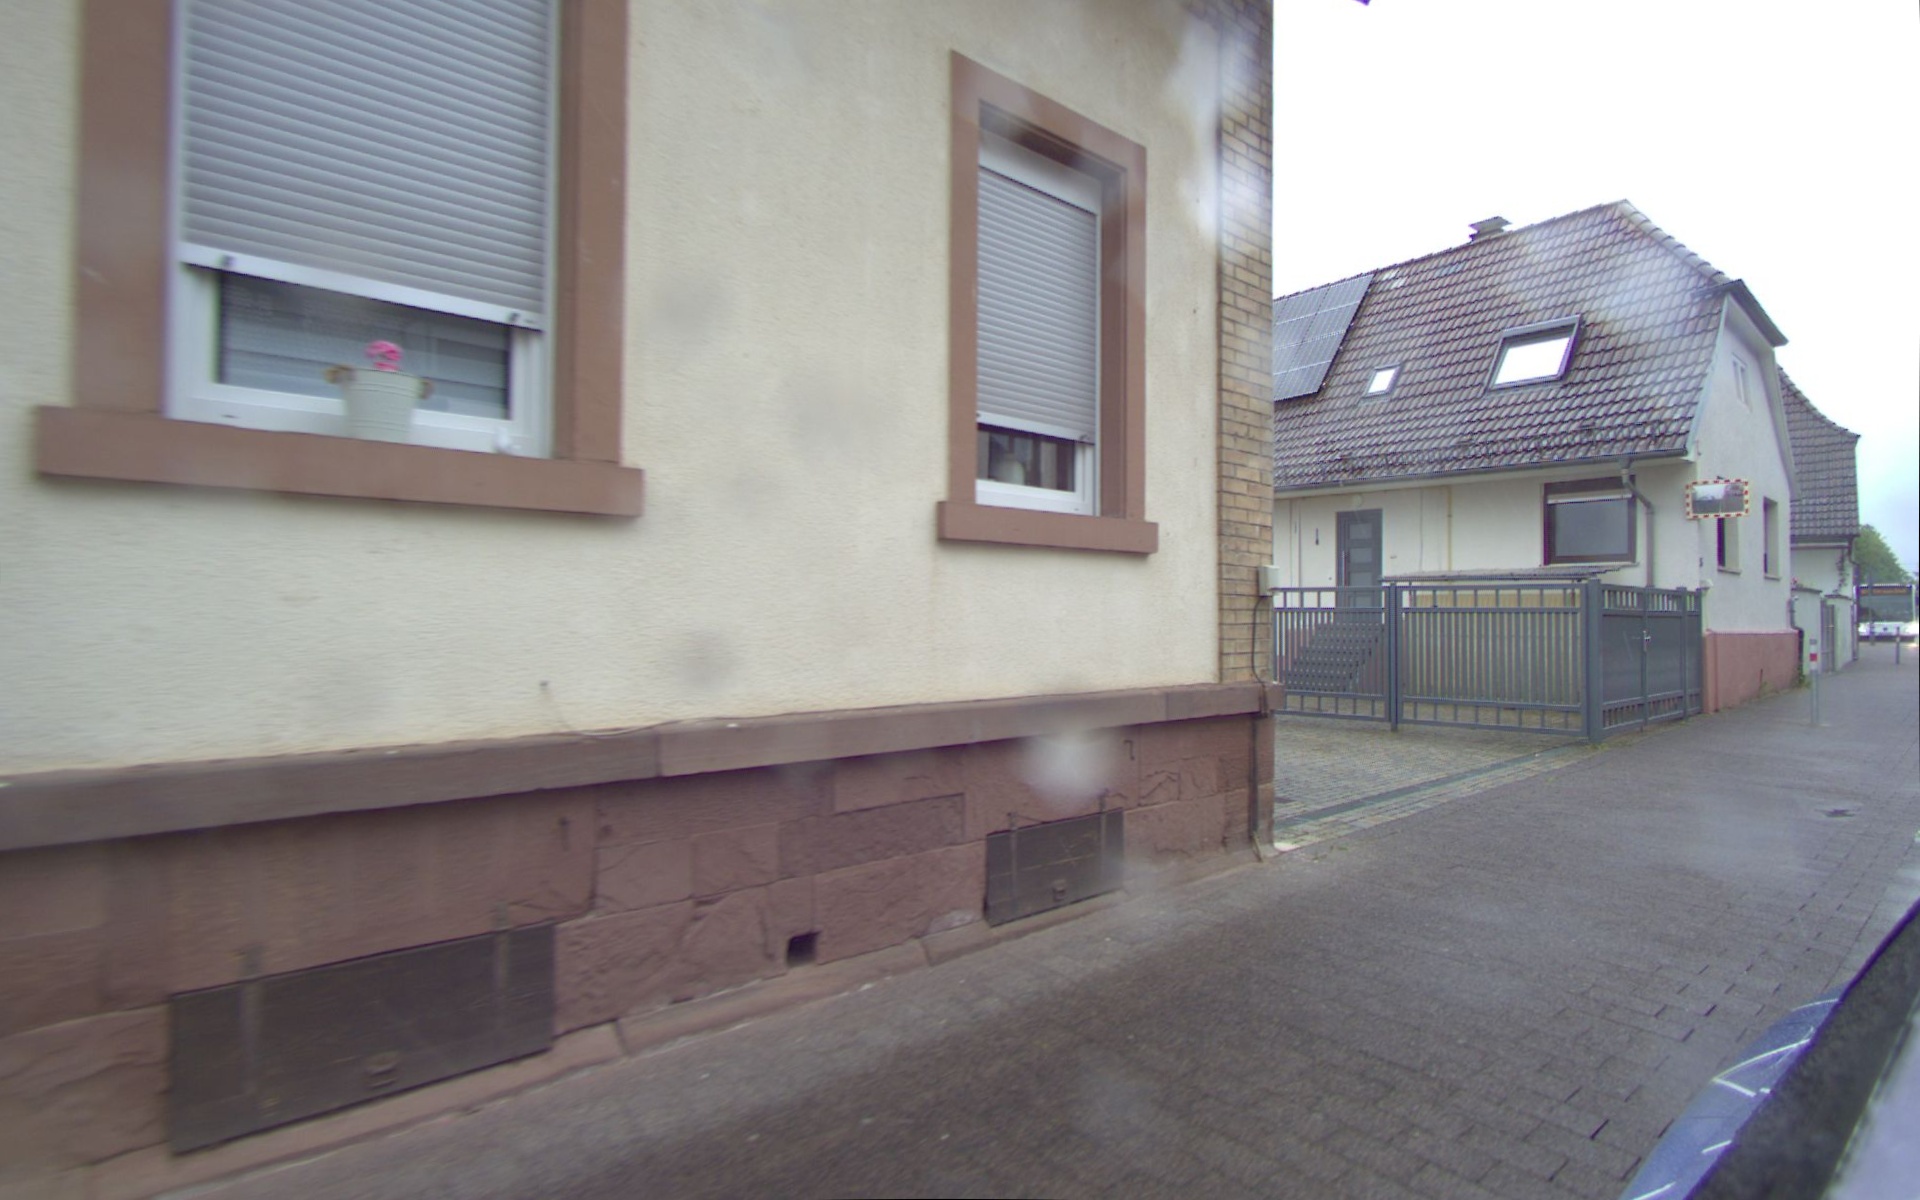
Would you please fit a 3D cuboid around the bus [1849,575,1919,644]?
[{"bbox_3d":[52.321,0.488,56.636,3.427,3.455,13.669,-1,-1,40],"label":"bus"}]

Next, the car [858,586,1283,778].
[{"bbox_3d":[0.943,0.676,10.028,3.895,1.517,1.822,-1,-1,44],"label":"car"}]
